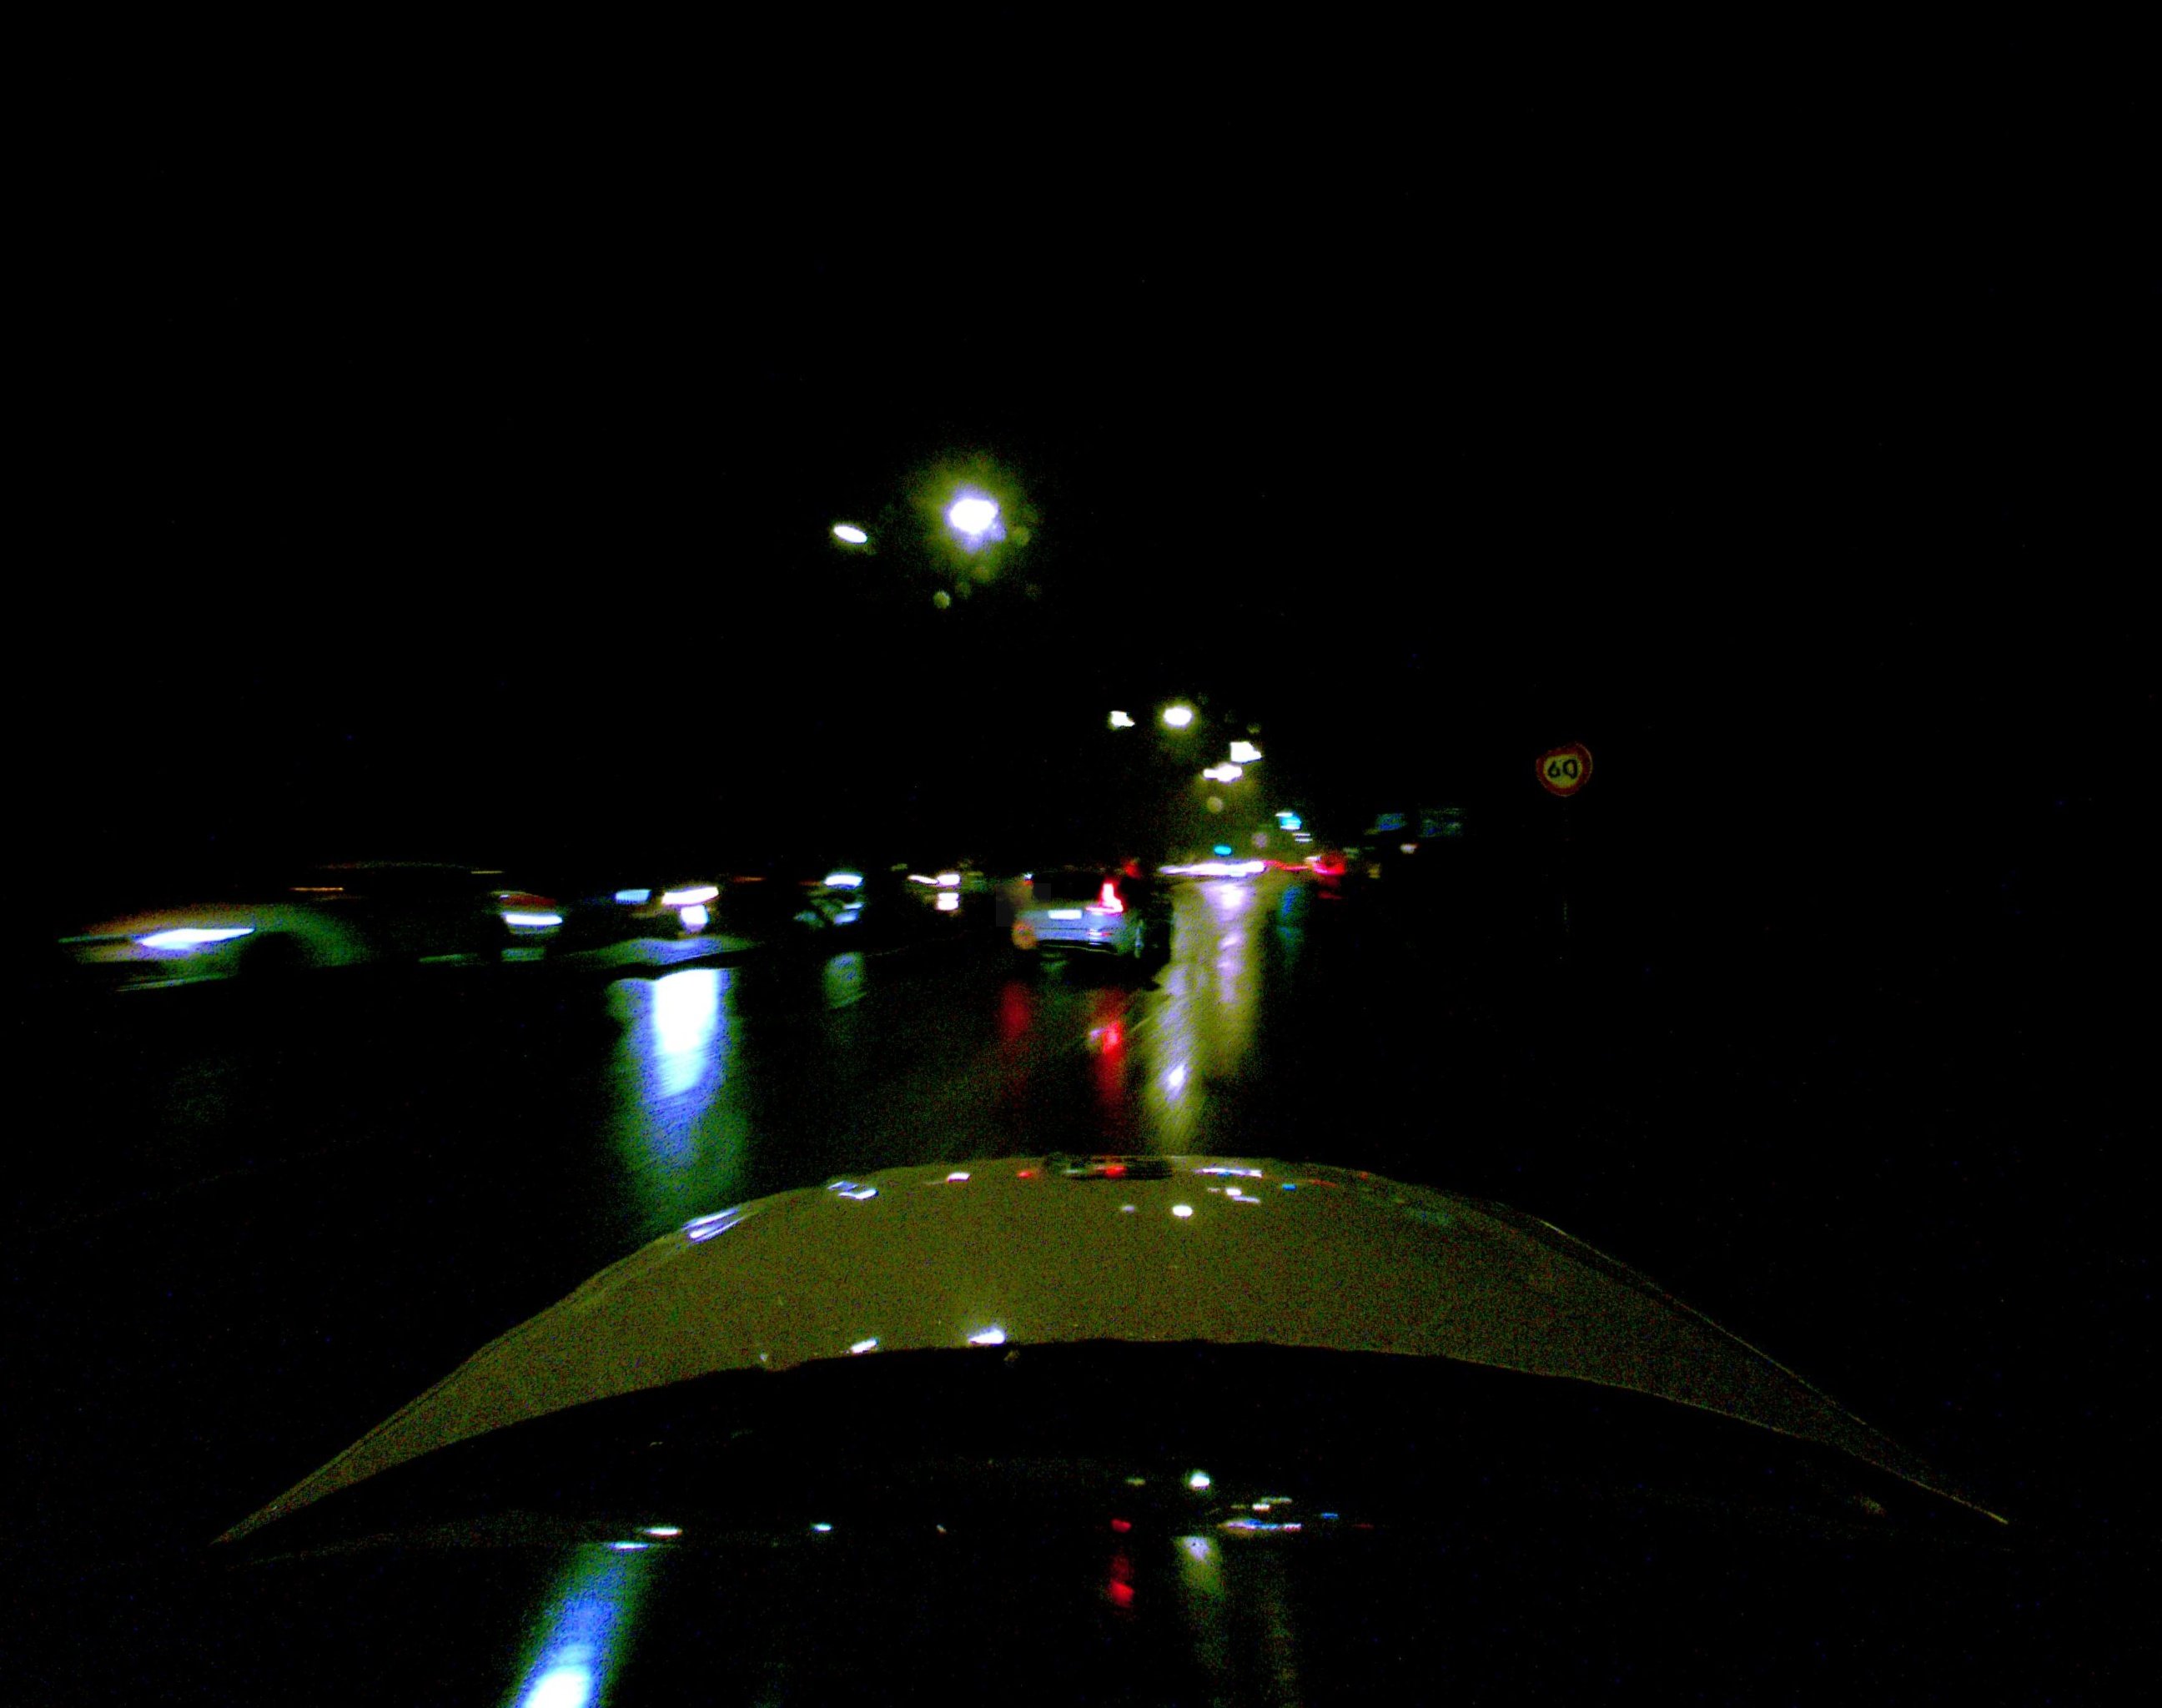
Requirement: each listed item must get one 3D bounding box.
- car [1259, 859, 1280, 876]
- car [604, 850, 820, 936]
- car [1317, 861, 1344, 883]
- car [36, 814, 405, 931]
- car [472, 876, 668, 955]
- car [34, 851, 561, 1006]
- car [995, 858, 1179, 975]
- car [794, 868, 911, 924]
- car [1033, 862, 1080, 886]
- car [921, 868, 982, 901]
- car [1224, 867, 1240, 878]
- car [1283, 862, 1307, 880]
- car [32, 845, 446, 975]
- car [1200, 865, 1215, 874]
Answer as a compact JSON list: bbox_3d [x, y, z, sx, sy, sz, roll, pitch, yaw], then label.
[{"bbox_3d":[21.471,1.513,92.640,2.162,1.601,4.015,5,-2,15],"label":"car"},{"bbox_3d":[-7.600,0.759,17.300,1.799,1.578,4.323,-1,-1,16],"label":"car"},{"bbox_3d":[21.900,1.579,71.478,1.894,1.601,4.019,4,-2,21],"label":"car"},{"bbox_3d":[-15.478,0.315,15.036,1.784,1.799,4.268,2,0,17],"label":"car"},{"bbox_3d":[-13.128,1.519,21.254,1.746,1.848,4.142,0,-2,17],"label":"car"},{"bbox_3d":[-9.253,0.741,10.245,1.762,1.484,4.432,0,0,18],"label":"car"},{"bbox_3d":[0.300,0.842,13.116,1.782,1.452,4.288,1,1,17],"label":"car"},{"bbox_3d":[-7.653,1.351,27.735,1.786,1.666,4.504,2,0,14],"label":"car"},{"bbox_3d":[-1.659,1.393,57.103,1.869,1.530,4.450,2,0,17],"label":"car"},{"bbox_3d":[-6.790,1.551,43.056,1.481,1.602,4.164,0,0,17],"label":"car"},{"bbox_3d":[20.086,2.409,108.176,1.577,1.427,3.366,0,0,18],"label":"car"},{"bbox_3d":[22.653,1.794,86.229,2.160,1.601,4.017,4,-2,18],"label":"car"},{"bbox_3d":[-12.589,0.795,12.595,1.784,1.666,3.993,0,-2,17],"label":"car"},{"bbox_3d":[17.102,2.110,110.137,1.631,1.203,3.630,0,-1,16],"label":"car"}]
